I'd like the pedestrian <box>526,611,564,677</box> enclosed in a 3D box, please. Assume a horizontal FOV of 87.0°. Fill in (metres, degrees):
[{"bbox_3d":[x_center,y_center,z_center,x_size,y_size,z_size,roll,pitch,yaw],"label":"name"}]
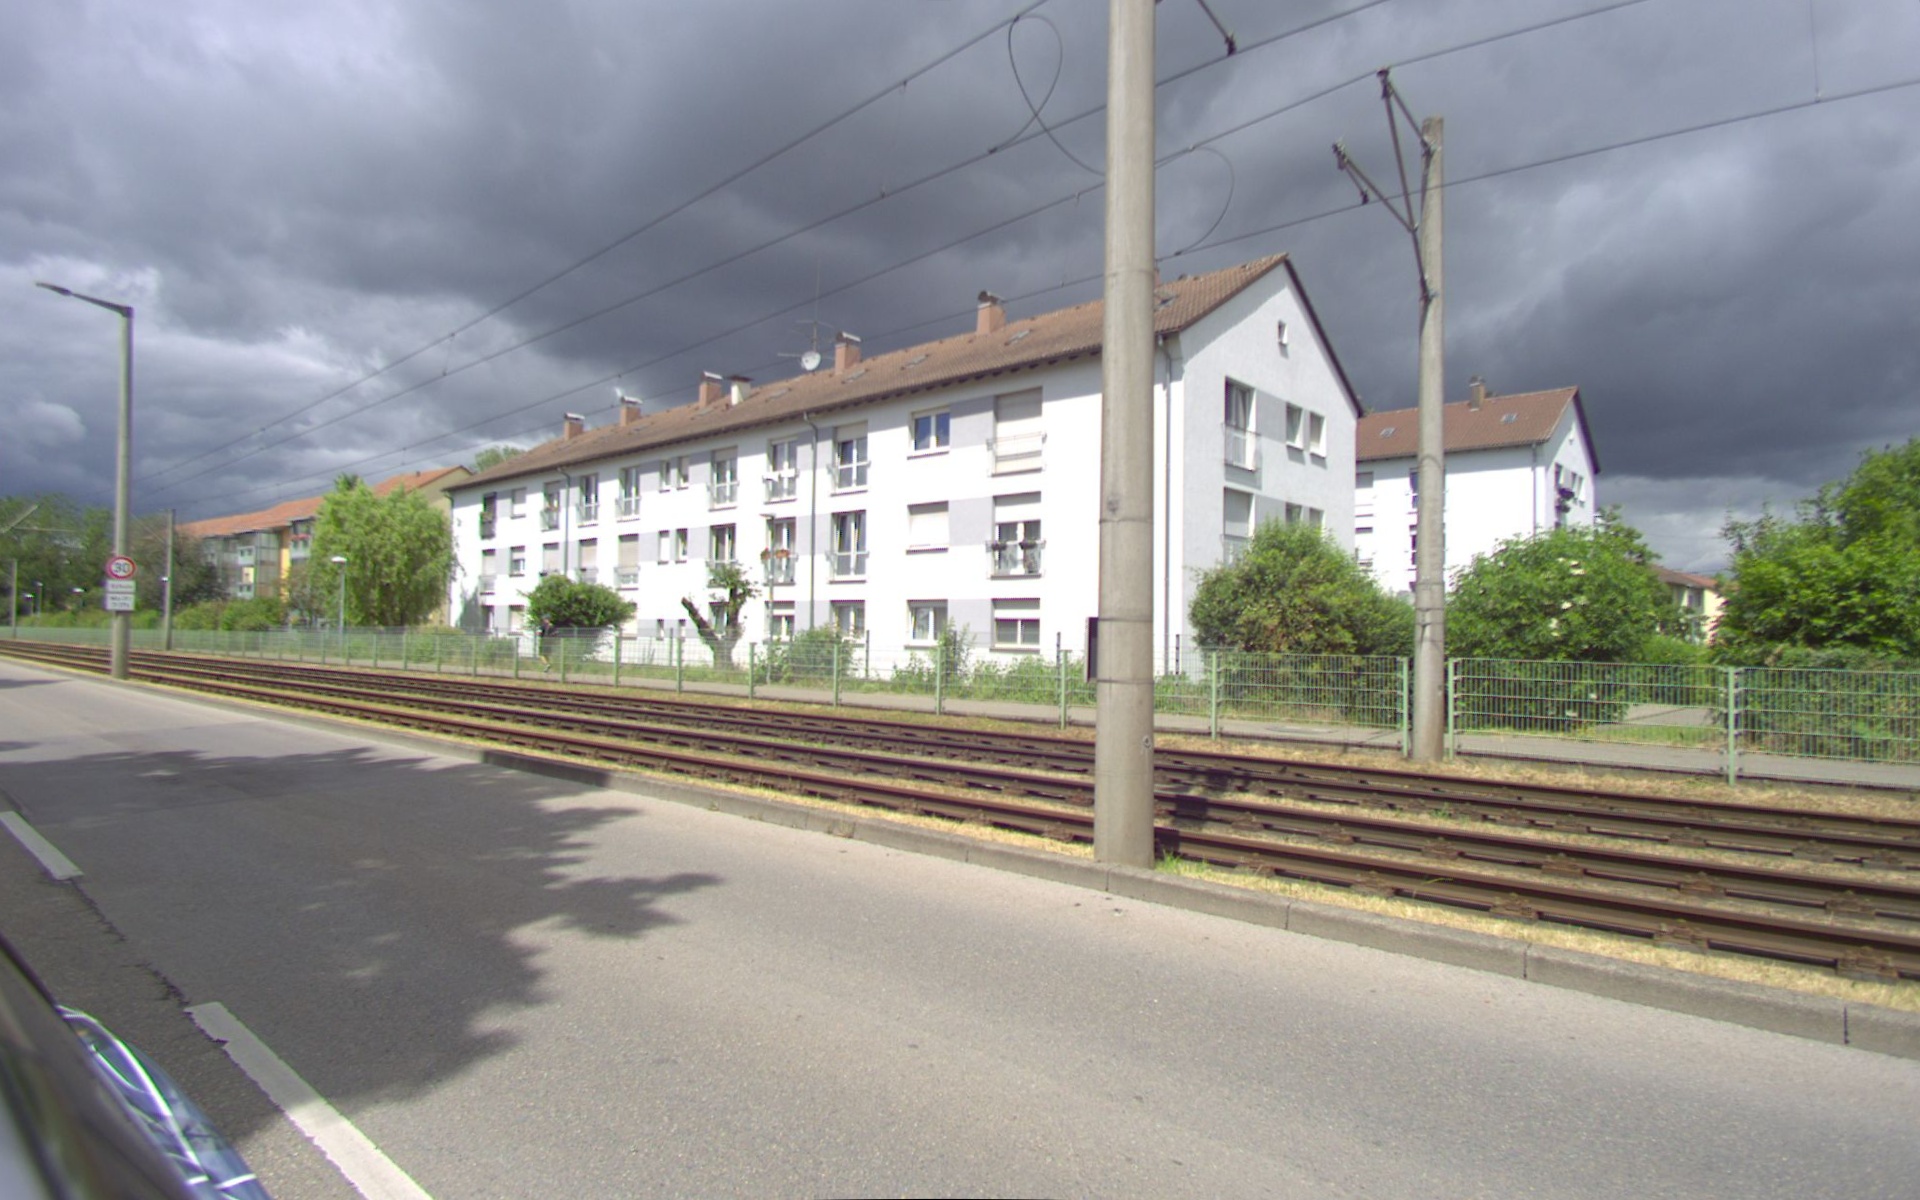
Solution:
[{"bbox_3d":[-11.833,1.256,28.860,0.768,1.863,0.652,-2,-4,41],"label":"pedestrian"}]
